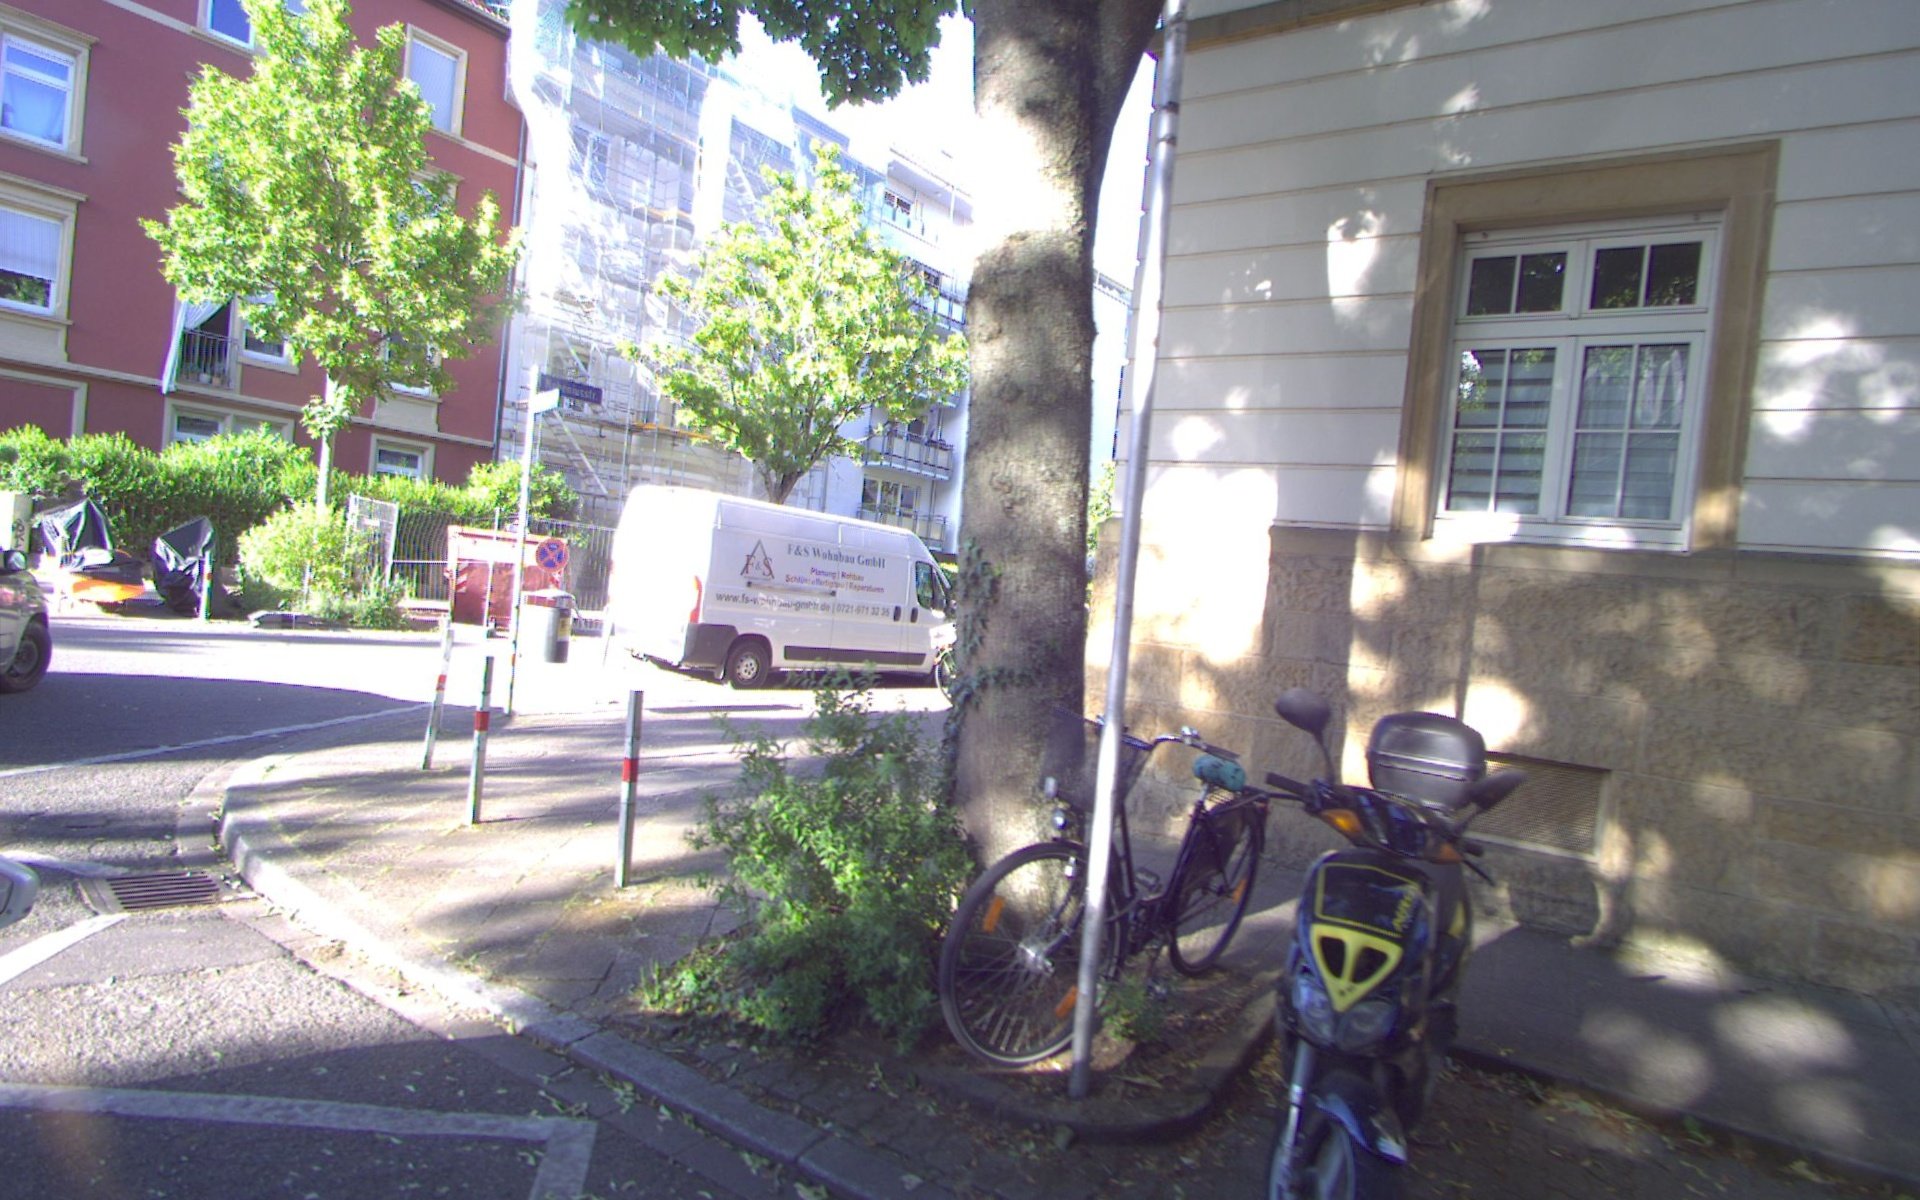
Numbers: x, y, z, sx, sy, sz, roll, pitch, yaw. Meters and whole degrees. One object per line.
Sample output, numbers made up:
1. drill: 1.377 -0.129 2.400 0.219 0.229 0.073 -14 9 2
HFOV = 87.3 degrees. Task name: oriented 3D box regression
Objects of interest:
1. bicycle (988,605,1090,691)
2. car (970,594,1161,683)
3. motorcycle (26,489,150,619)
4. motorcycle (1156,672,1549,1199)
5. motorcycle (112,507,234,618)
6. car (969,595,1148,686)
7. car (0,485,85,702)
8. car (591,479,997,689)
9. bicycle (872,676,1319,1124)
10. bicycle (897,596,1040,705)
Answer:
1. bicycle: 1.318 0.804 16.444 0.467 1.307 1.858 7 2 44
2. car: 2.173 0.784 19.888 1.764 1.457 3.981 6 1 39
3. motorcycle: -12.180 -0.669 14.016 2.584 1.545 0.870 8 3 40
4. motorcycle: 1.242 0.935 2.991 0.666 1.230 1.850 8 5 28
5. motorcycle: -11.601 -0.583 14.791 2.506 1.423 0.867 6 2 40
6. car: 2.041 0.820 19.915 1.700 1.483 3.870 7 1 36
7. car: -7.226 -0.093 6.397 1.619 1.502 3.508 5 1 -27
8. car: -2.188 -0.134 14.884 2.273 2.500 5.634 7 2 40
9. bicycle: 0.568 0.887 3.527 1.785 1.177 0.428 3 4 -43
10. bicycle: 0.134 0.687 13.283 1.856 1.307 0.631 4 2 -42
